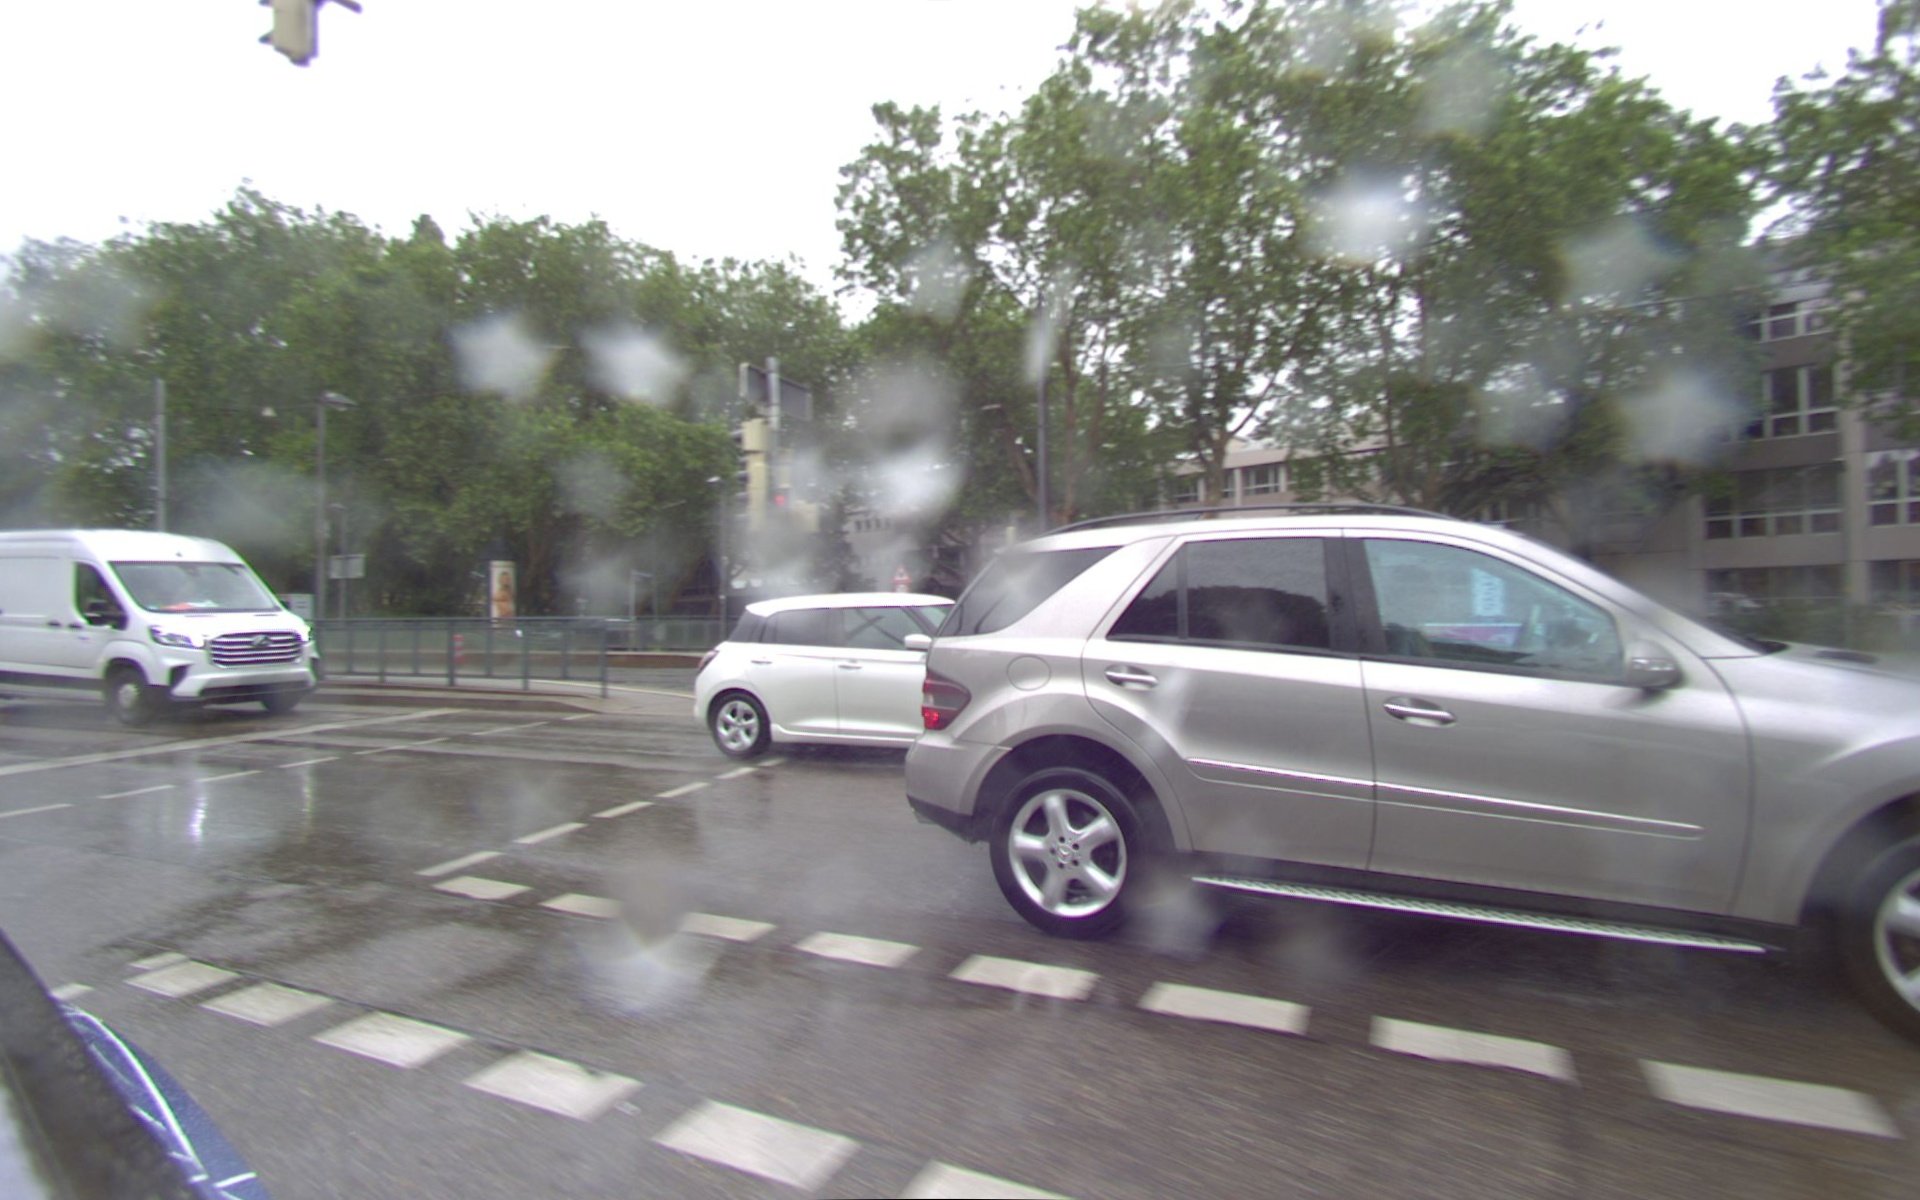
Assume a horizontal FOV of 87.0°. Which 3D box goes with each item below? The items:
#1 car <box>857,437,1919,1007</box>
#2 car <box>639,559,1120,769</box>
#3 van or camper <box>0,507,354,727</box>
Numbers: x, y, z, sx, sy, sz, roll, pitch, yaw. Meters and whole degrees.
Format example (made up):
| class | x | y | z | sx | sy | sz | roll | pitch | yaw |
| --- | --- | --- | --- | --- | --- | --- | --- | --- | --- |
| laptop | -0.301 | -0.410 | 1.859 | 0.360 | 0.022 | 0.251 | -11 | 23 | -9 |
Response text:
| class | x | y | z | sx | sy | sz | roll | pitch | yaw |
| --- | --- | --- | --- | --- | --- | --- | --- | --- | --- |
| car | 2.063 | 0.379 | 4.333 | 4.653 | 1.659 | 1.898 | -2 | 0 | 25 |
| car | -0.737 | 0.546 | 9.332 | 4.047 | 1.599 | 1.793 | -2 | -1 | 23 |
| van or camper | -11.260 | 0.270 | 13.582 | 5.927 | 2.489 | 2.167 | -2 | 0 | 21 |
